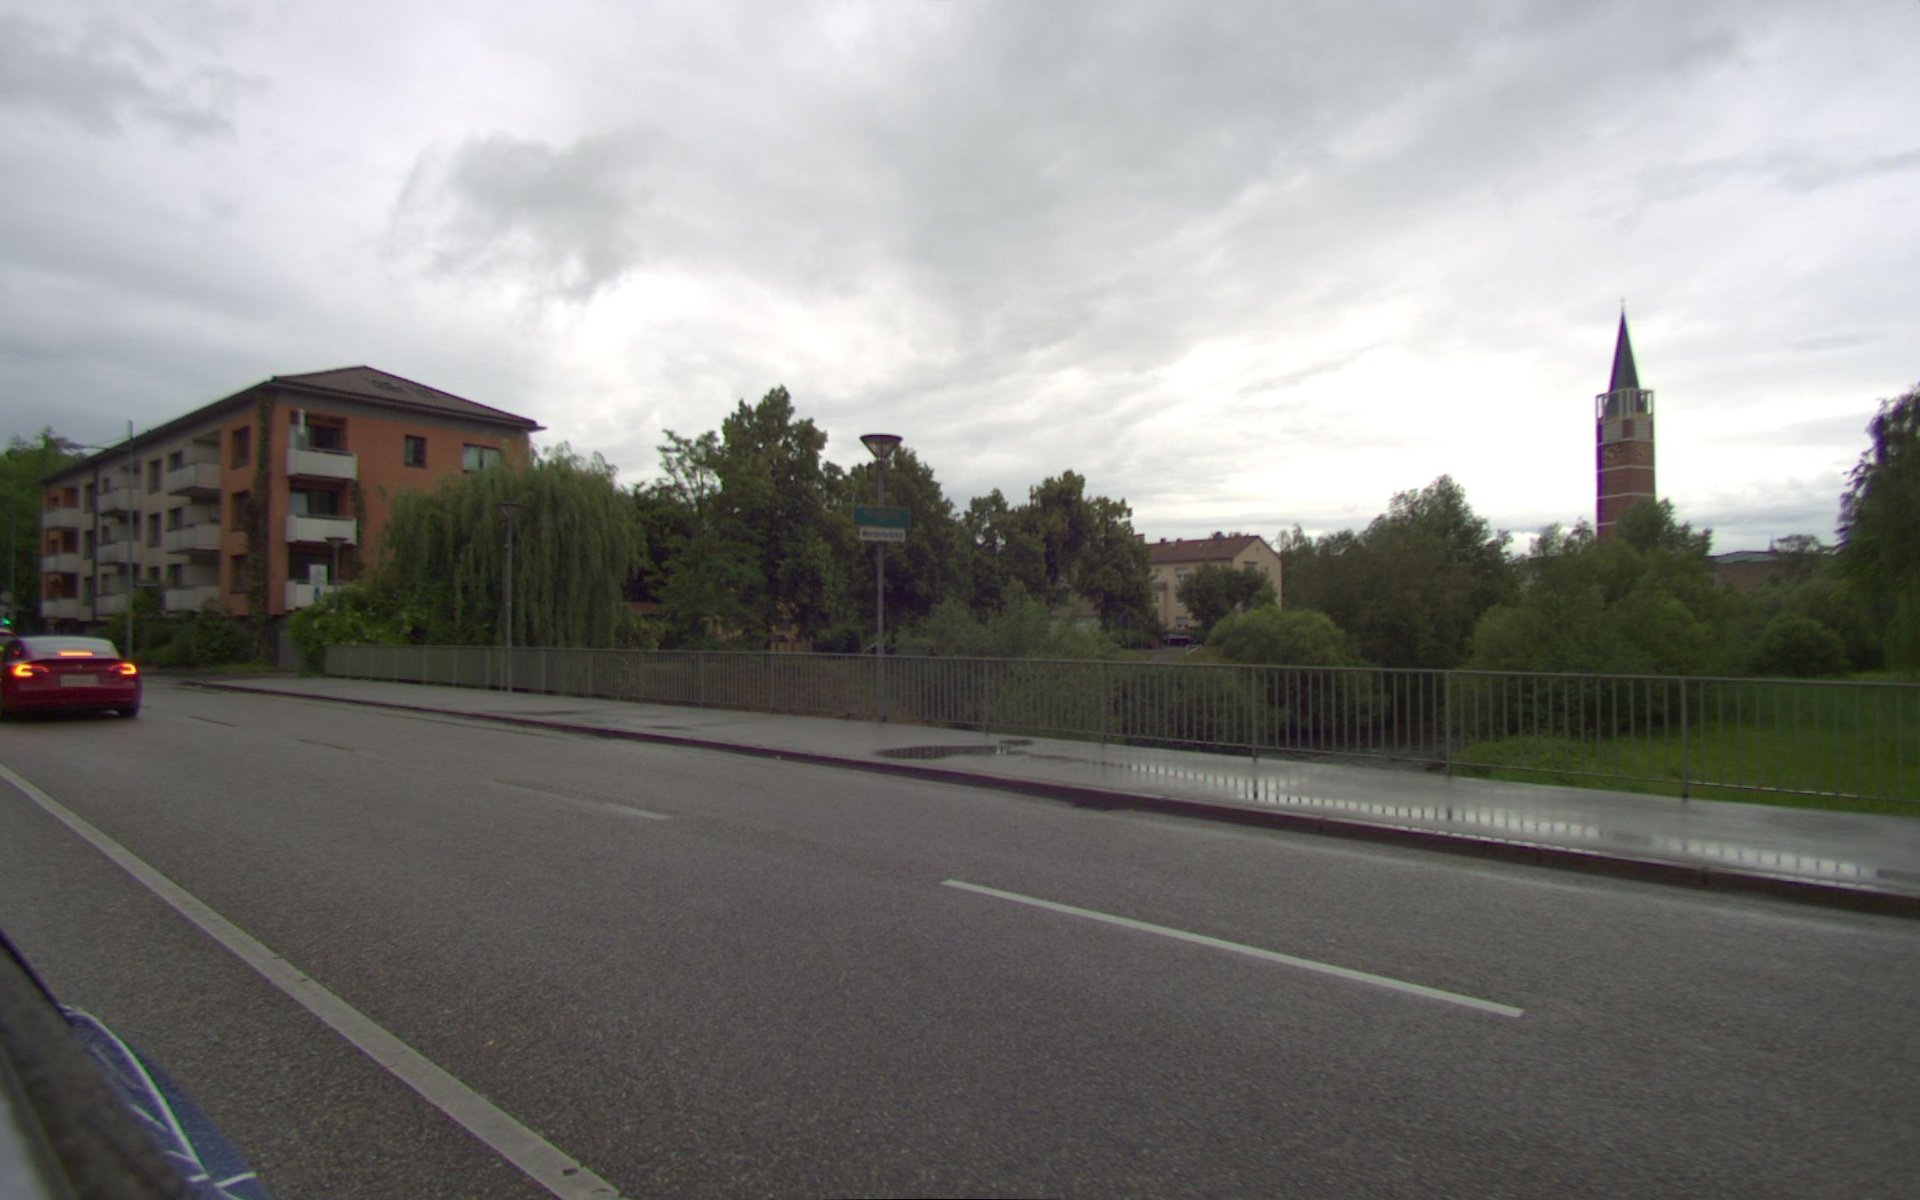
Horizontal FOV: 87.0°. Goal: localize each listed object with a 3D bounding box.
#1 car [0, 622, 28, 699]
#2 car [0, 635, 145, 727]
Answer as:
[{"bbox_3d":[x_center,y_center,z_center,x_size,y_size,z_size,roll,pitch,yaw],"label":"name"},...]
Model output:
[{"bbox_3d":[-23.738,1.417,24.036,4.369,1.748,1.869,-2,-3,41],"label":"car"},{"bbox_3d":[-15.860,1.348,17.709,4.216,1.413,1.763,-2,-4,41],"label":"car"}]
